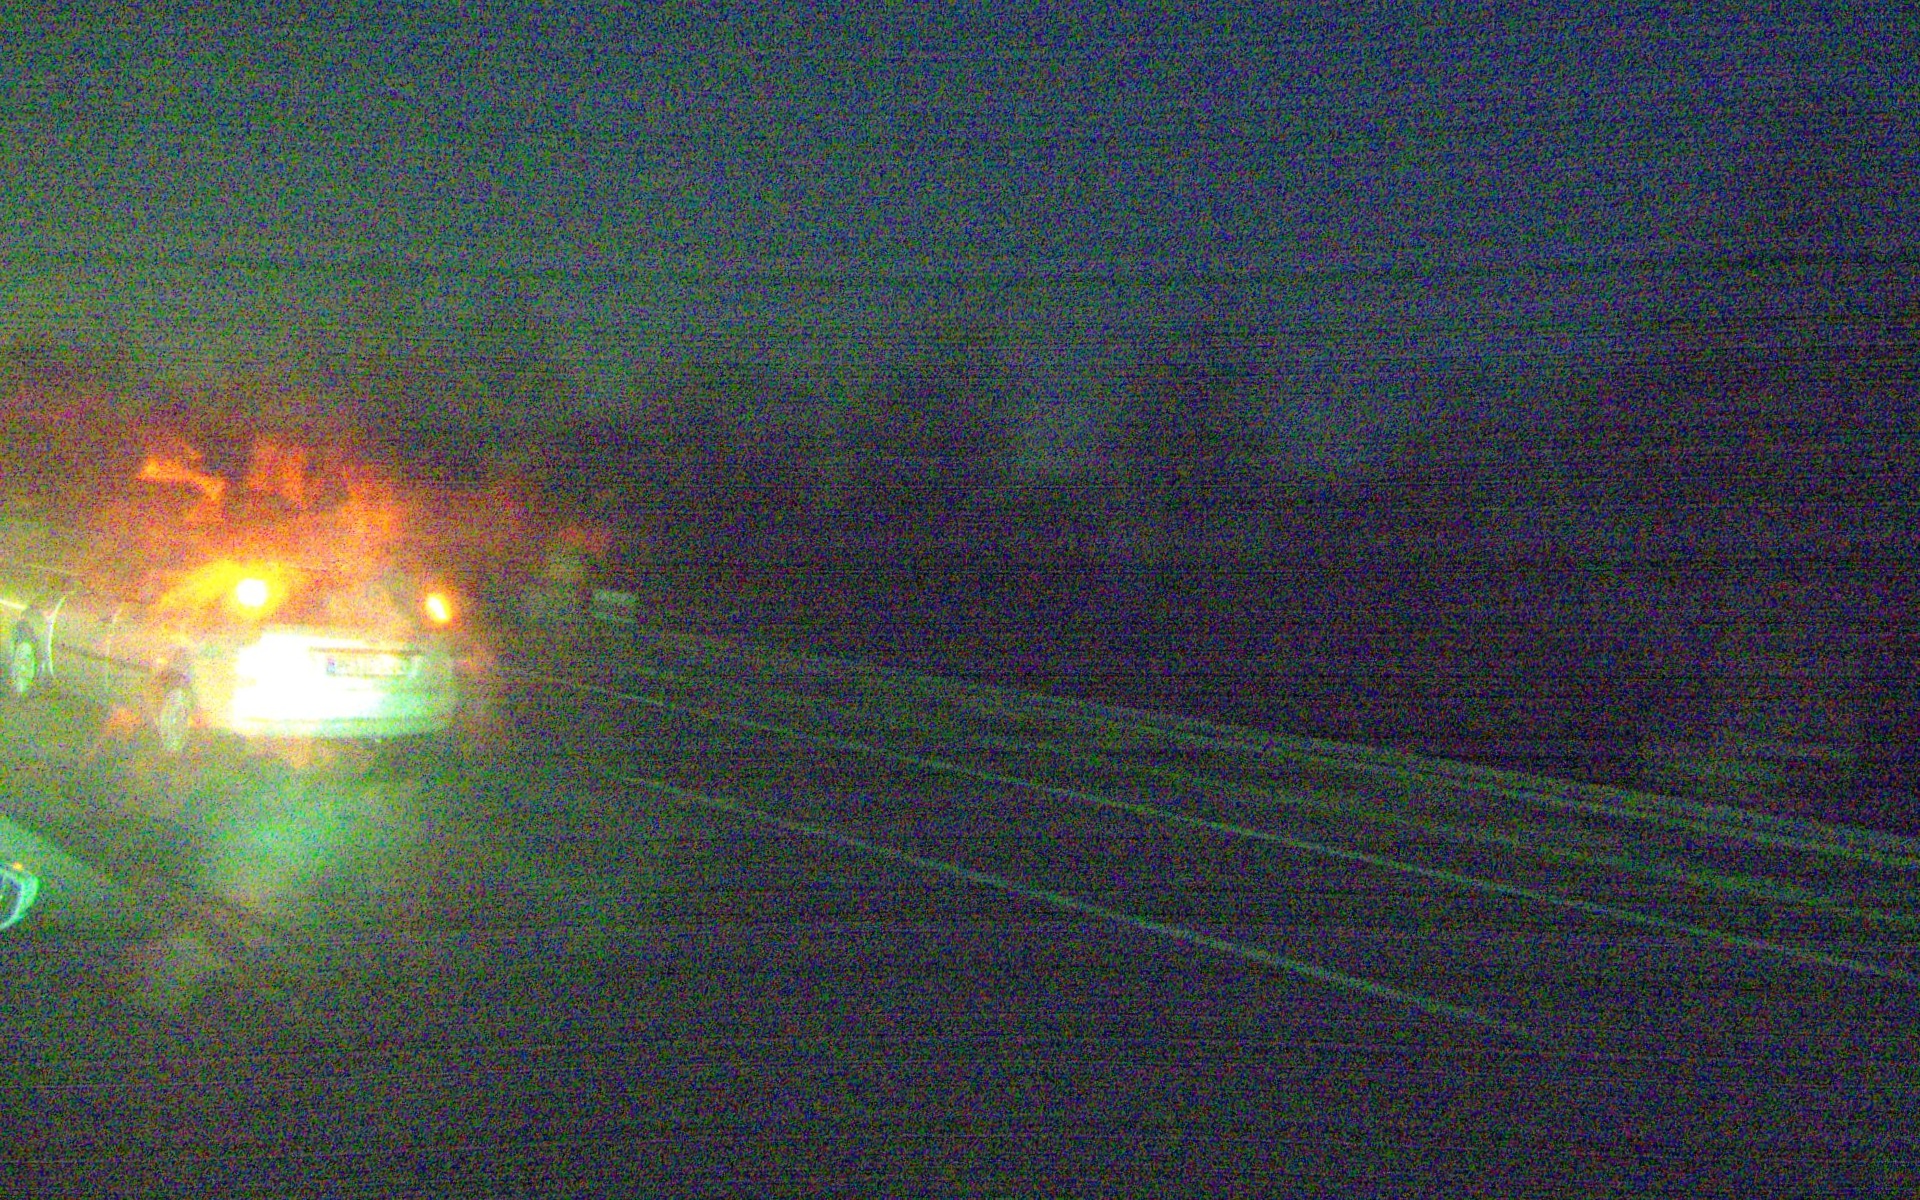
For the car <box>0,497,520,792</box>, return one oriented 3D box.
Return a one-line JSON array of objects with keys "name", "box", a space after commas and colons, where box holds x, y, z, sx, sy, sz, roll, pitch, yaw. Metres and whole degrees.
[{"name": "car", "box": [-5.441, 0.209, 7.481, 4.124, 1.475, 1.773, 7, -1, 30]}]
